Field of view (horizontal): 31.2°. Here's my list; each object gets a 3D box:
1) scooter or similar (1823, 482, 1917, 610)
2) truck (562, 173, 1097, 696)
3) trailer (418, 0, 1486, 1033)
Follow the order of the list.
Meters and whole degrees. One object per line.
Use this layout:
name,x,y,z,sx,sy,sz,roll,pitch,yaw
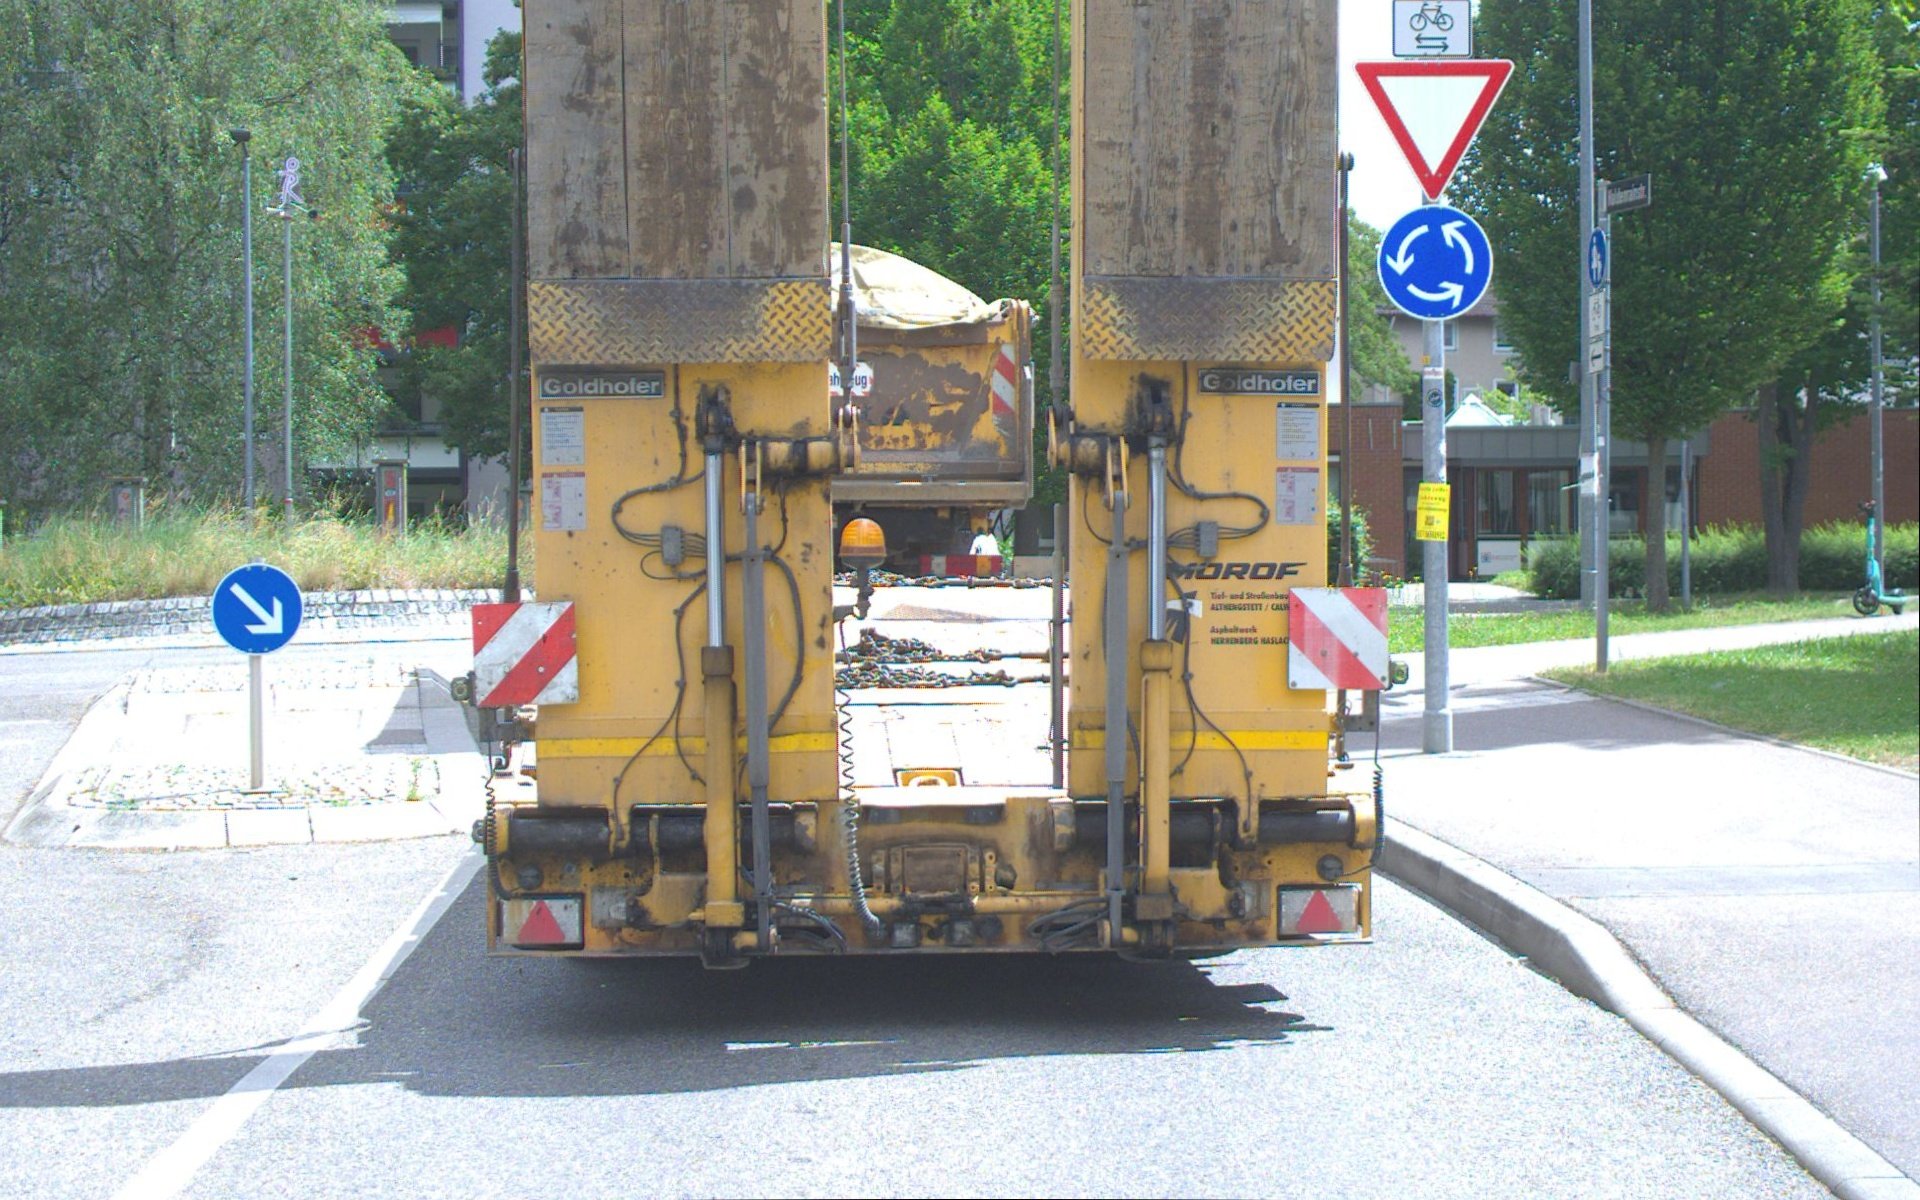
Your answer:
scooter or similar,9.904,-0.590,37.400,0.485,1.338,1.386,-1,2,36
truck,-1.246,-1.156,24.429,2.987,3.024,8.489,1,3,-8
trailer,-0.315,-0.695,14.760,2.863,3.360,10.843,1,2,-3
